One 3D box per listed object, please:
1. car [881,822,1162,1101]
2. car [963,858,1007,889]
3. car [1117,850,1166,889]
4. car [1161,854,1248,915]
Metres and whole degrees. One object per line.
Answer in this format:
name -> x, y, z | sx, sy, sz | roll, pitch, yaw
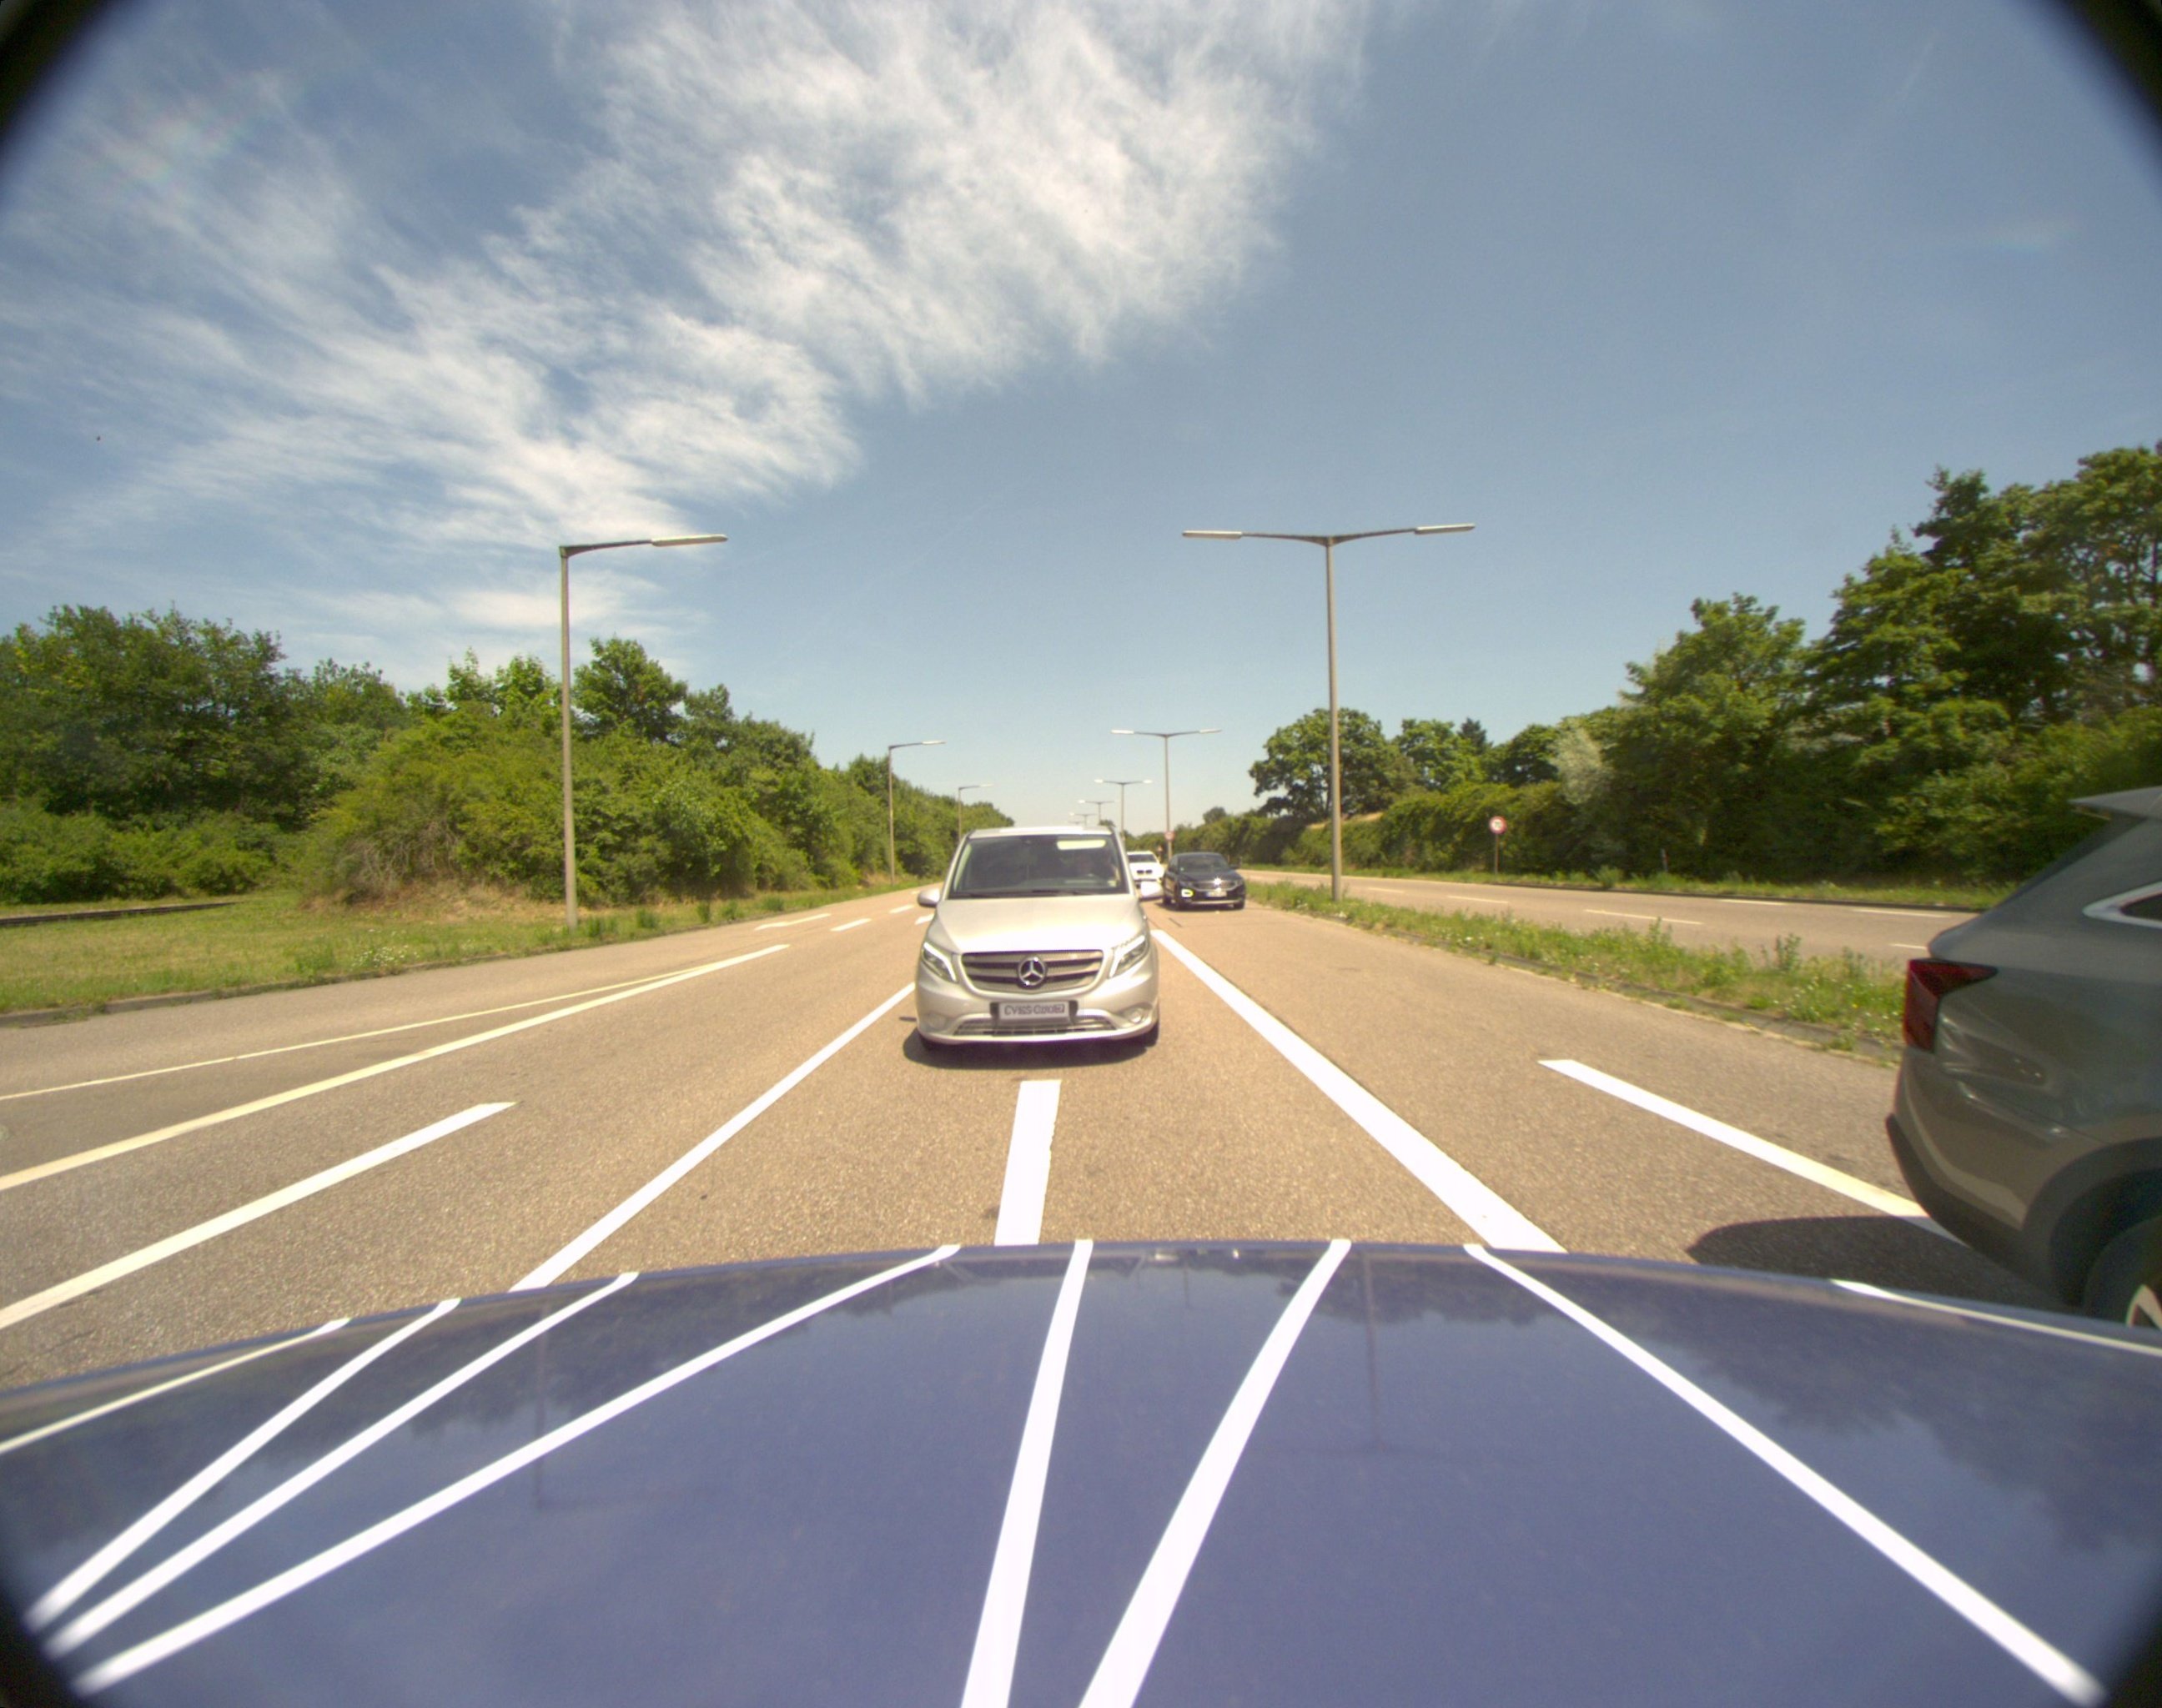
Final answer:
car -> -0.348, 0.729, 8.031 | 1.876, 1.866, 5.732 | -1, 0, 1
car -> -5.207, 1.023, 41.783 | 1.722, 1.587, 4.001 | -1, 0, 2
car -> 2.782, 0.670, 35.638 | 1.921, 1.661, 4.001 | -1, 1, -1
car -> 3.338, 0.768, 21.249 | 1.753, 1.491, 4.000 | -2, 0, 0
